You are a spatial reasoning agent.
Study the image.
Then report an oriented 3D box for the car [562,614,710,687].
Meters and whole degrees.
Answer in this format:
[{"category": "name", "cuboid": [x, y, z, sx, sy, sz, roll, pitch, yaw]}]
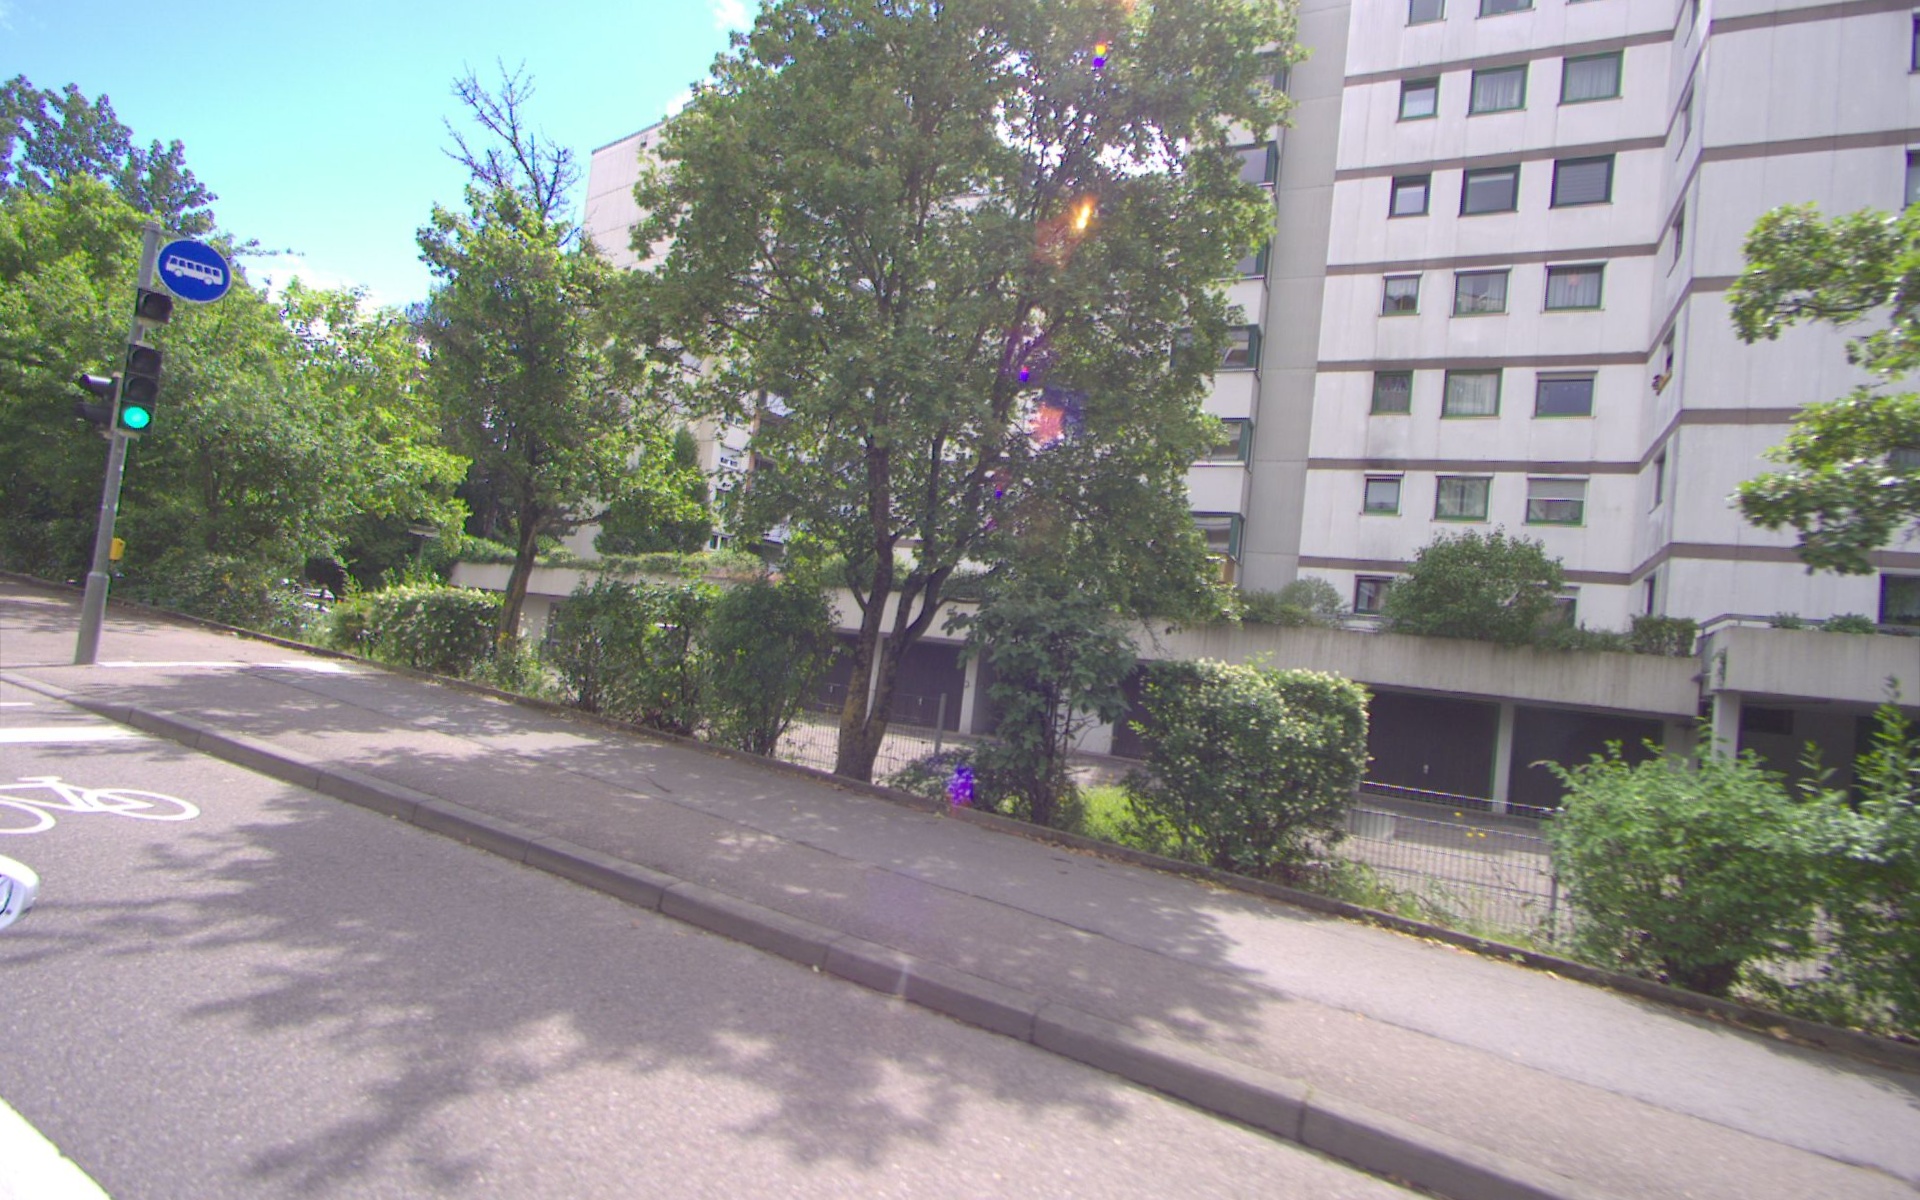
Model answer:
[{"category": "car", "cuboid": [-9.868, 1.584, 30.880, 1.763, 1.914, 3.992, 4, -2, 33]}]
